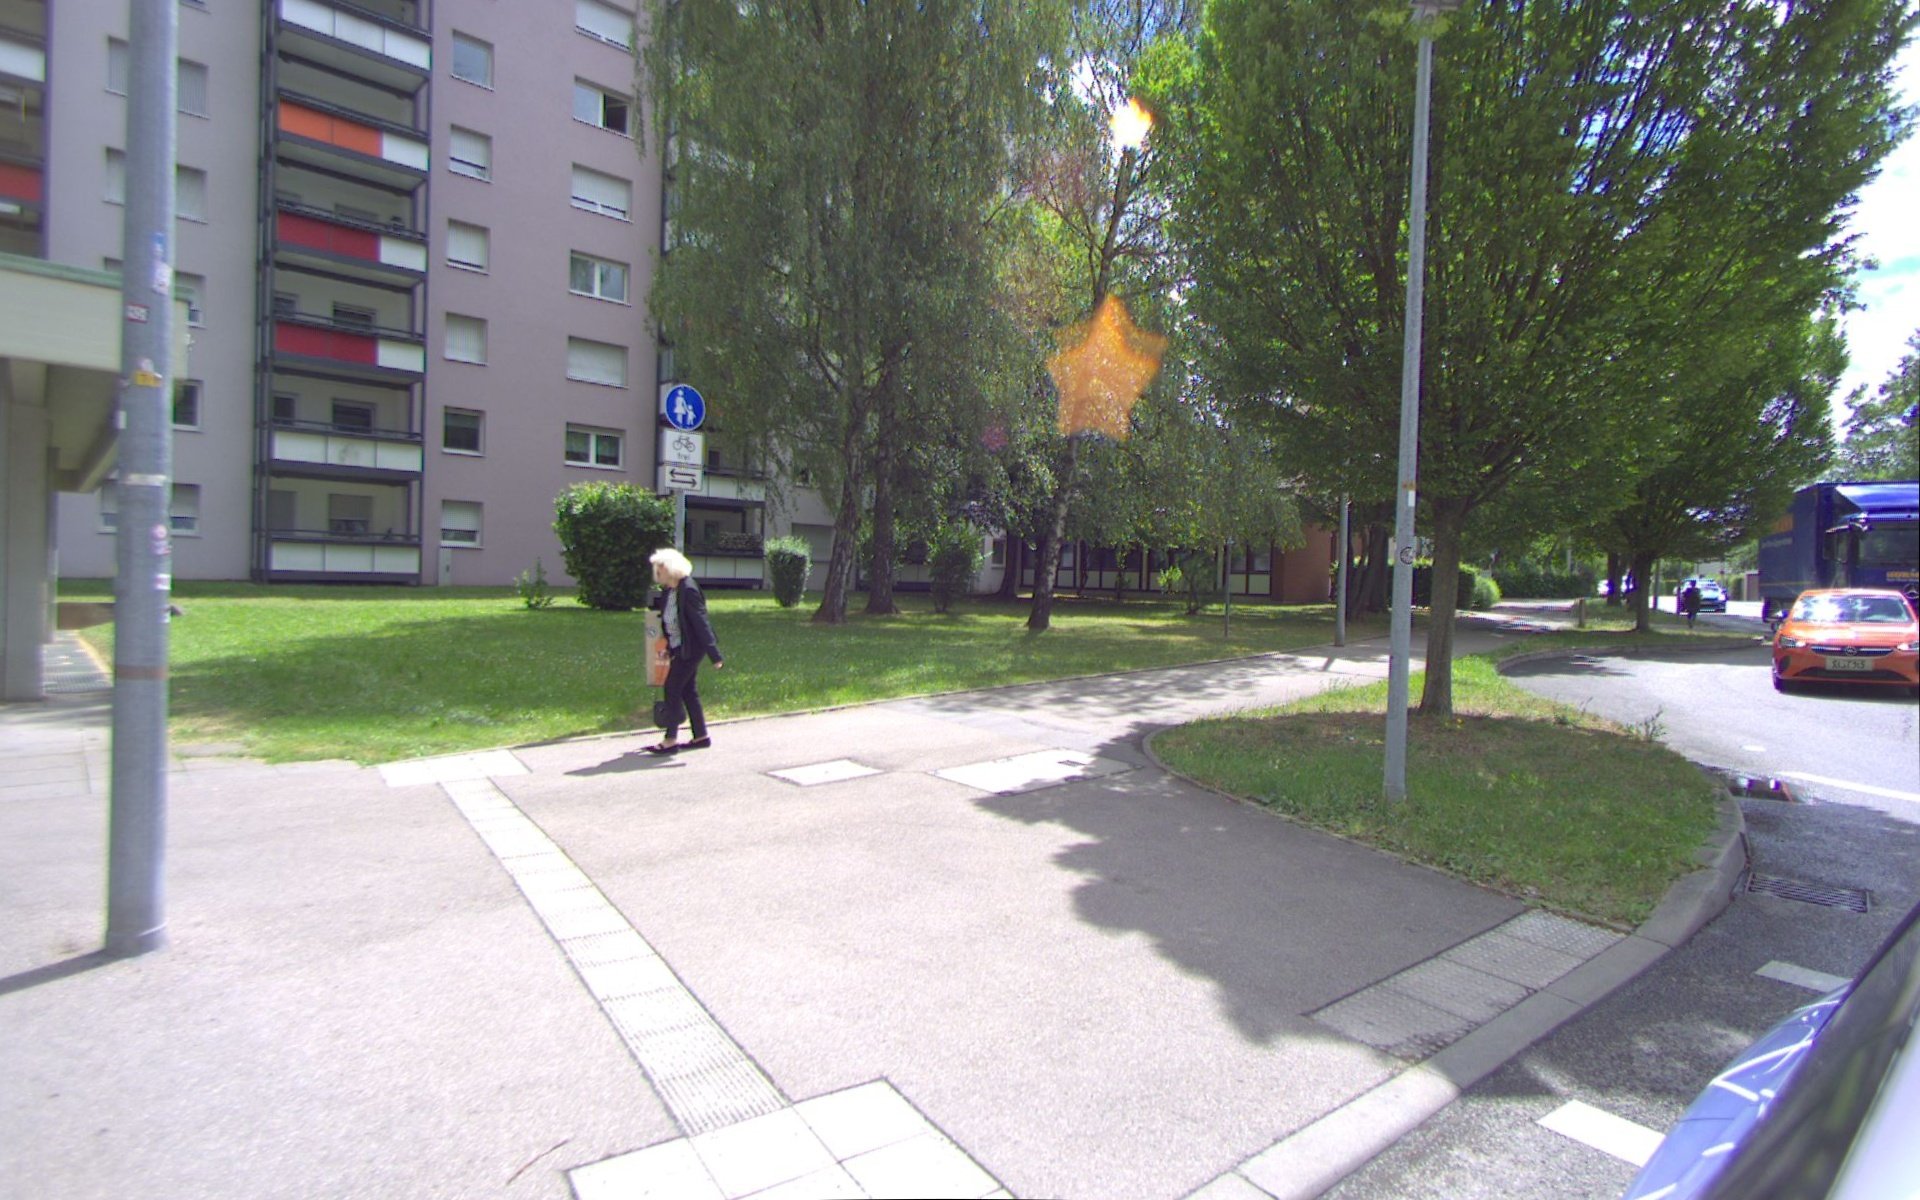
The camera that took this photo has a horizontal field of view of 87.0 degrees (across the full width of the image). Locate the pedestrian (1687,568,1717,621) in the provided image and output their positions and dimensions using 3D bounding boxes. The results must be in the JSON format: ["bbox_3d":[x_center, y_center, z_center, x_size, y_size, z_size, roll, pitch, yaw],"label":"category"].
[{"bbox_3d":[23.263,-0.196,31.719,0.717,1.598,0.830,2,4,36],"label":"pedestrian"}]

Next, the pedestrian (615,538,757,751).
[{"bbox_3d":[-2.140,0.302,7.886,0.789,1.538,0.874,-1,2,-37],"label":"pedestrian"}]

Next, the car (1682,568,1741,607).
[{"bbox_3d":[36.027,-0.569,48.592,1.987,1.697,3.951,3,0,34],"label":"car"}]

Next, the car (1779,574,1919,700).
[{"bbox_3d":[13.490,0.446,14.939,1.762,1.576,3.937,4,4,44],"label":"car"}]

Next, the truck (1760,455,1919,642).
[{"bbox_3d":[24.054,-1.140,26.851,2.765,4.205,9.697,2,1,29],"label":"truck"}]
